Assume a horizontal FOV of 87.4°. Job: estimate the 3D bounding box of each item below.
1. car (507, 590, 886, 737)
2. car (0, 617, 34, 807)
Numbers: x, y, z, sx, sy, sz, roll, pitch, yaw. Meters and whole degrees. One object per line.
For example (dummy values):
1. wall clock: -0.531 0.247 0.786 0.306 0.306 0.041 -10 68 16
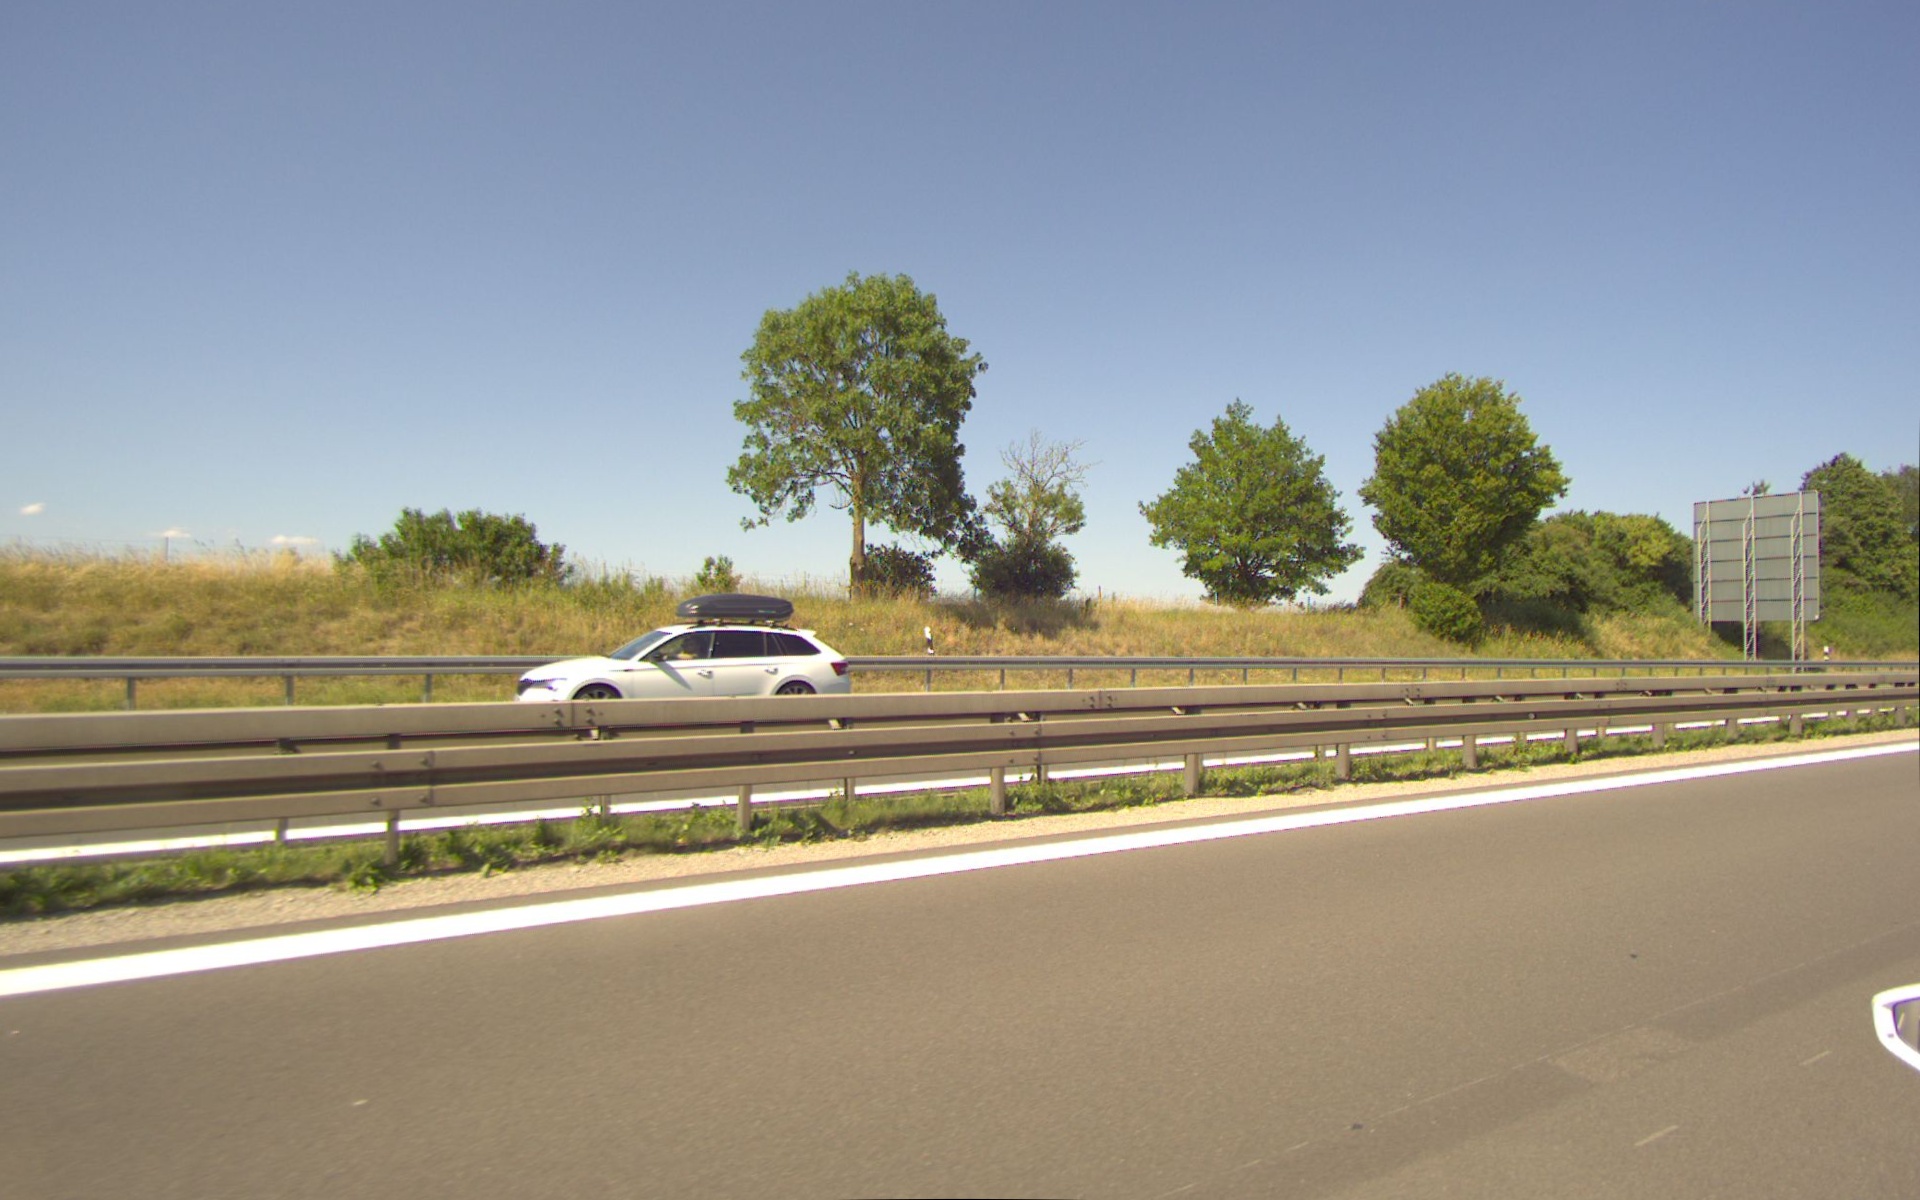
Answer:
1. car: -3.833 0.885 14.946 5.123 1.870 1.936 2 -1 -30
2. car: -9.515 0.864 7.173 3.953 1.551 1.608 2 -1 -30
